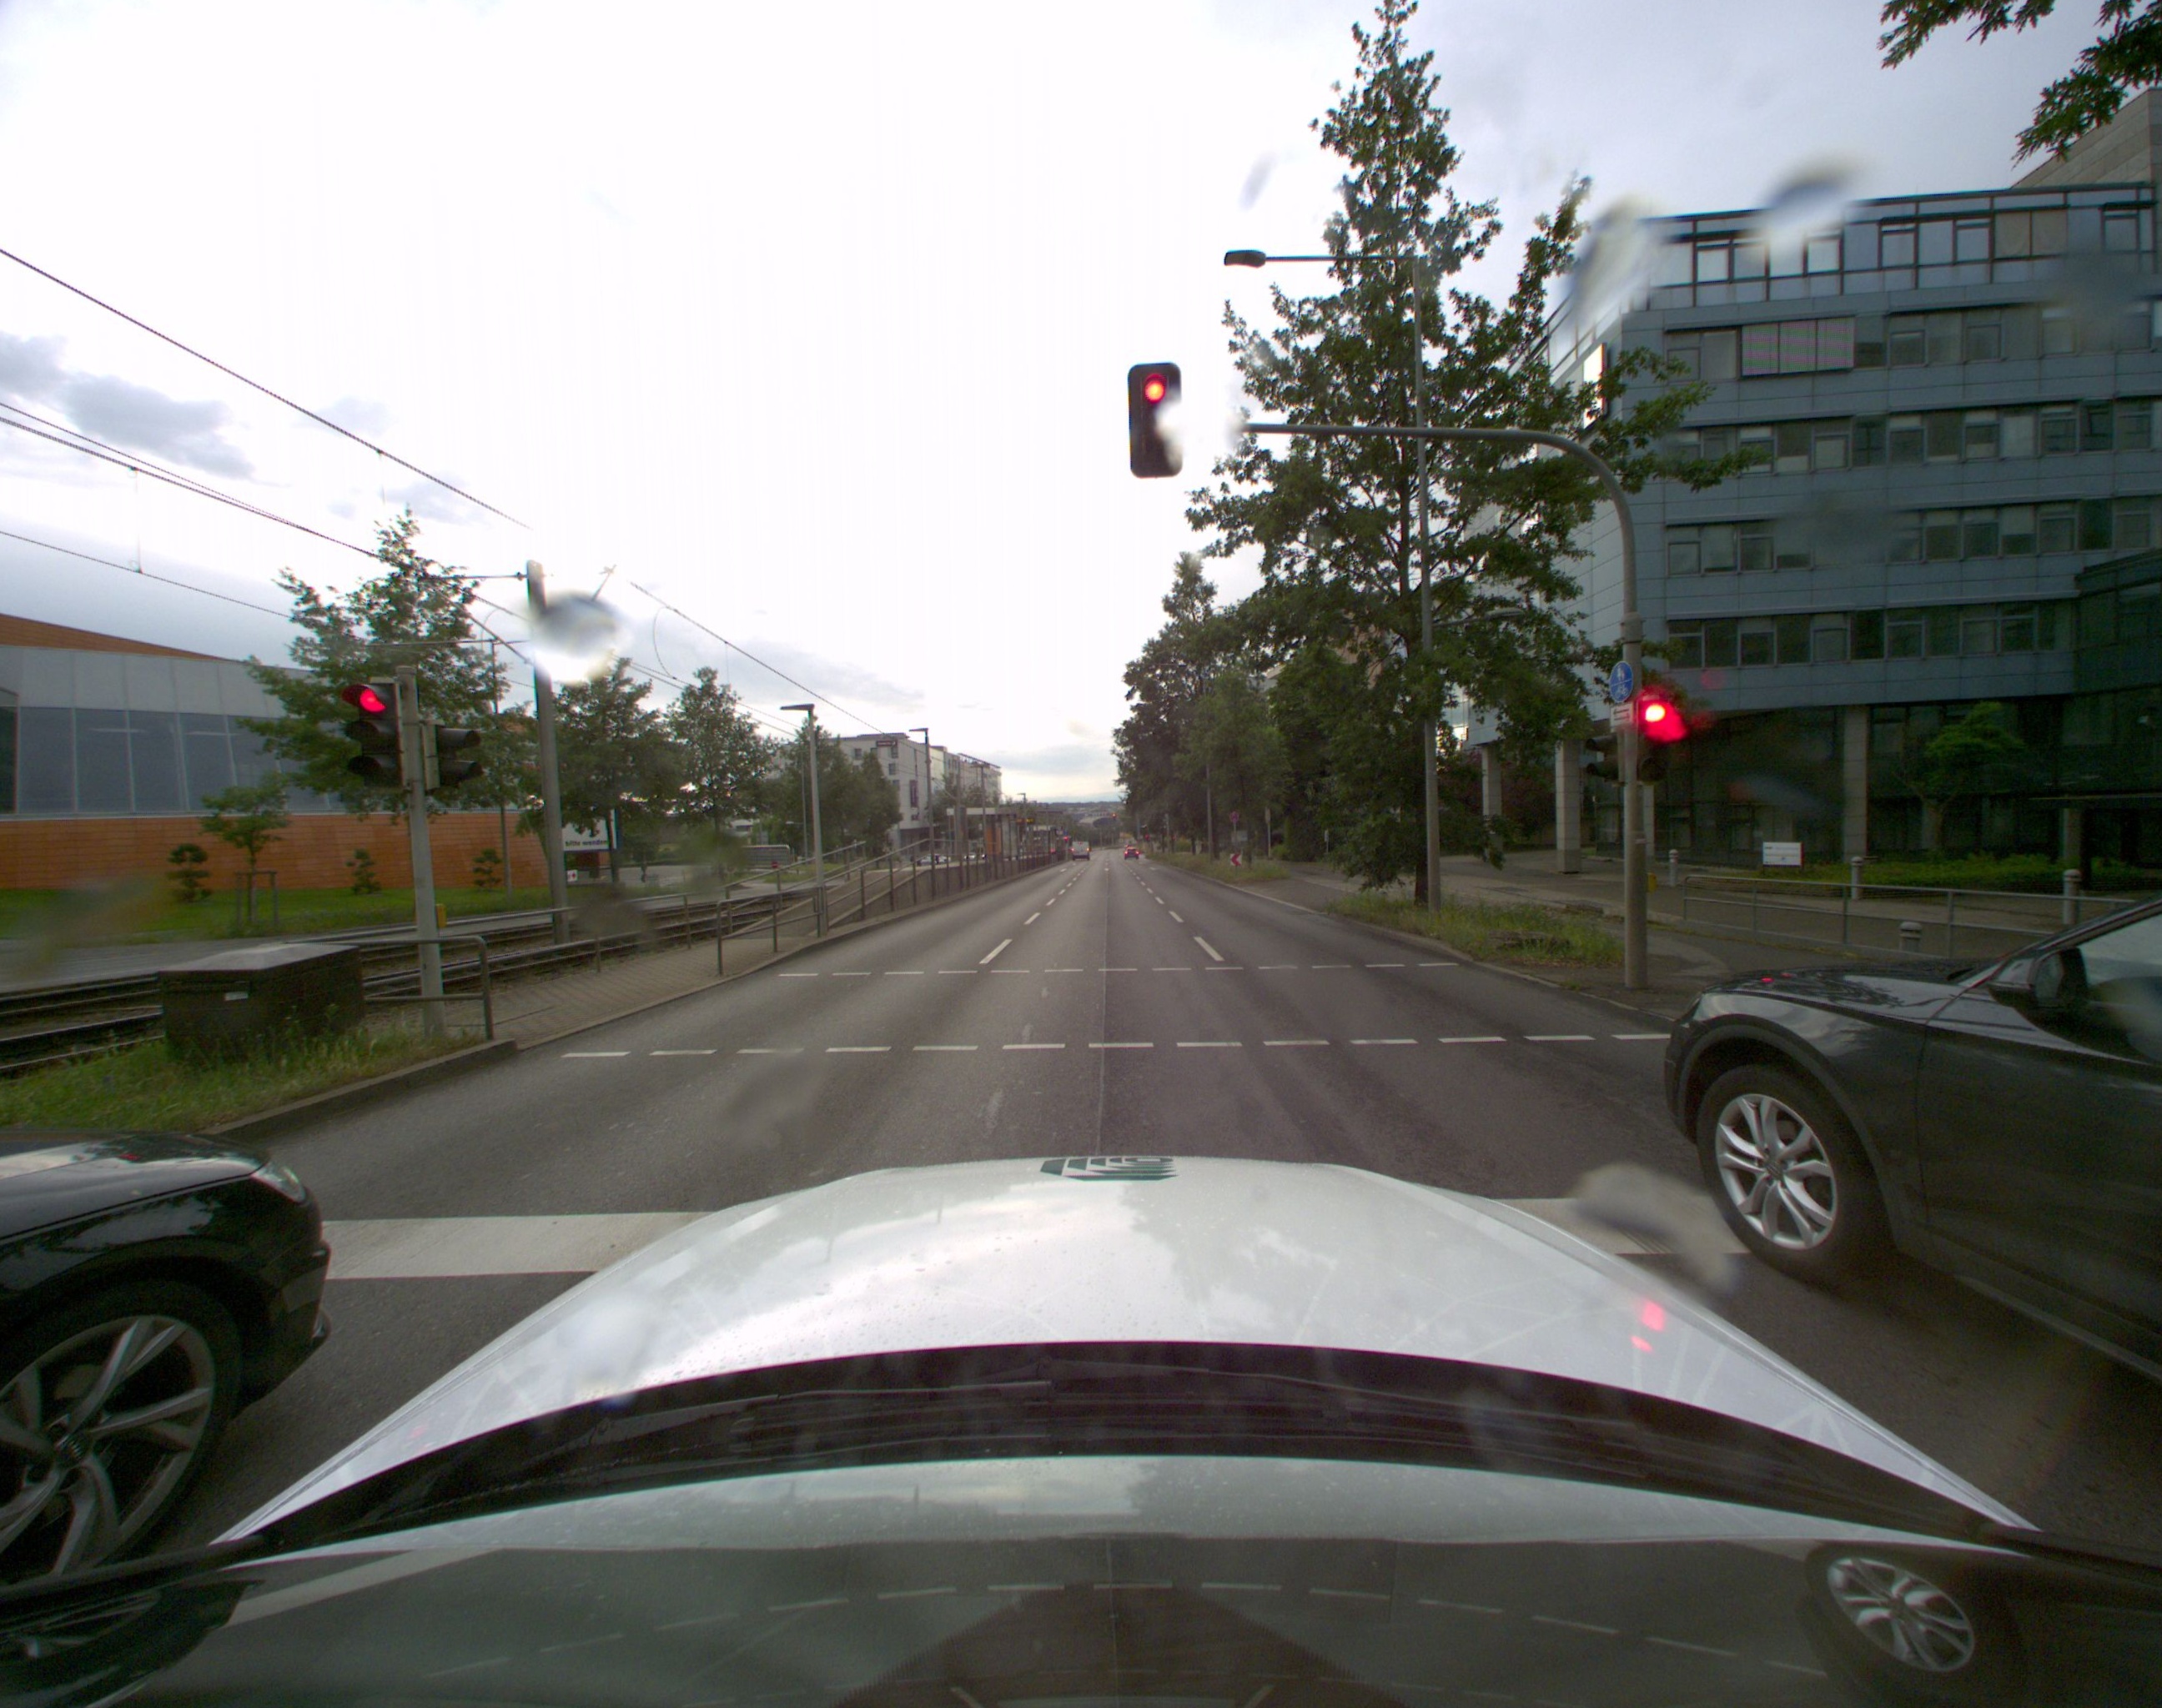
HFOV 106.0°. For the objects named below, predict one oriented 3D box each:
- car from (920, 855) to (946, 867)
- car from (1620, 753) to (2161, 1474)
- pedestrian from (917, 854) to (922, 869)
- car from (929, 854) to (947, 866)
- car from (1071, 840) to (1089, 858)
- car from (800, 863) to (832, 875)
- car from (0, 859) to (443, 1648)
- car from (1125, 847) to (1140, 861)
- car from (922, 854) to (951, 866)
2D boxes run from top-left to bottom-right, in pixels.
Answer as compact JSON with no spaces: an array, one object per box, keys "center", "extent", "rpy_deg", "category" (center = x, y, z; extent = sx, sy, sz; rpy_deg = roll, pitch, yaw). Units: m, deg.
[{"center":[-20.838,0.936,114.586],"extent":[3.830,1.436,1.666],"rpy_deg":[-4,0,42],"category":"car"},{"center":[3.299,0.564,1.442],"extent":[1.811,1.612,4.472],"rpy_deg":[-1,0,2],"category":"car"},{"center":[-21.059,1.004,106.037],"extent":[0.473,1.920,0.490],"rpy_deg":[-1,0,1],"category":"pedestrian"},{"center":[-18.325,0.792,104.239],"extent":[1.654,1.436,3.857],"rpy_deg":[-4,0,-17],"category":"car"},{"center":[-0.101,-0.649,99.547],"extent":[2.086,2.053,4.607],"rpy_deg":[-1,0,1],"category":"car"},{"center":[-31.433,1.748,96.558],"extent":[3.341,1.387,1.440],"rpy_deg":[-1,0,18],"category":"car"},{"center":[-2.963,0.781,0.300],"extent":[1.774,1.466,4.515],"rpy_deg":[-1,0,2],"category":"car"},{"center":[6.485,0.015,102.831],"extent":[1.767,1.691,3.847],"rpy_deg":[-1,0,2],"category":"car"},{"center":[-21.956,0.909,123.713],"extent":[4.094,1.436,1.648],"rpy_deg":[-4,0,-13],"category":"car"}]
